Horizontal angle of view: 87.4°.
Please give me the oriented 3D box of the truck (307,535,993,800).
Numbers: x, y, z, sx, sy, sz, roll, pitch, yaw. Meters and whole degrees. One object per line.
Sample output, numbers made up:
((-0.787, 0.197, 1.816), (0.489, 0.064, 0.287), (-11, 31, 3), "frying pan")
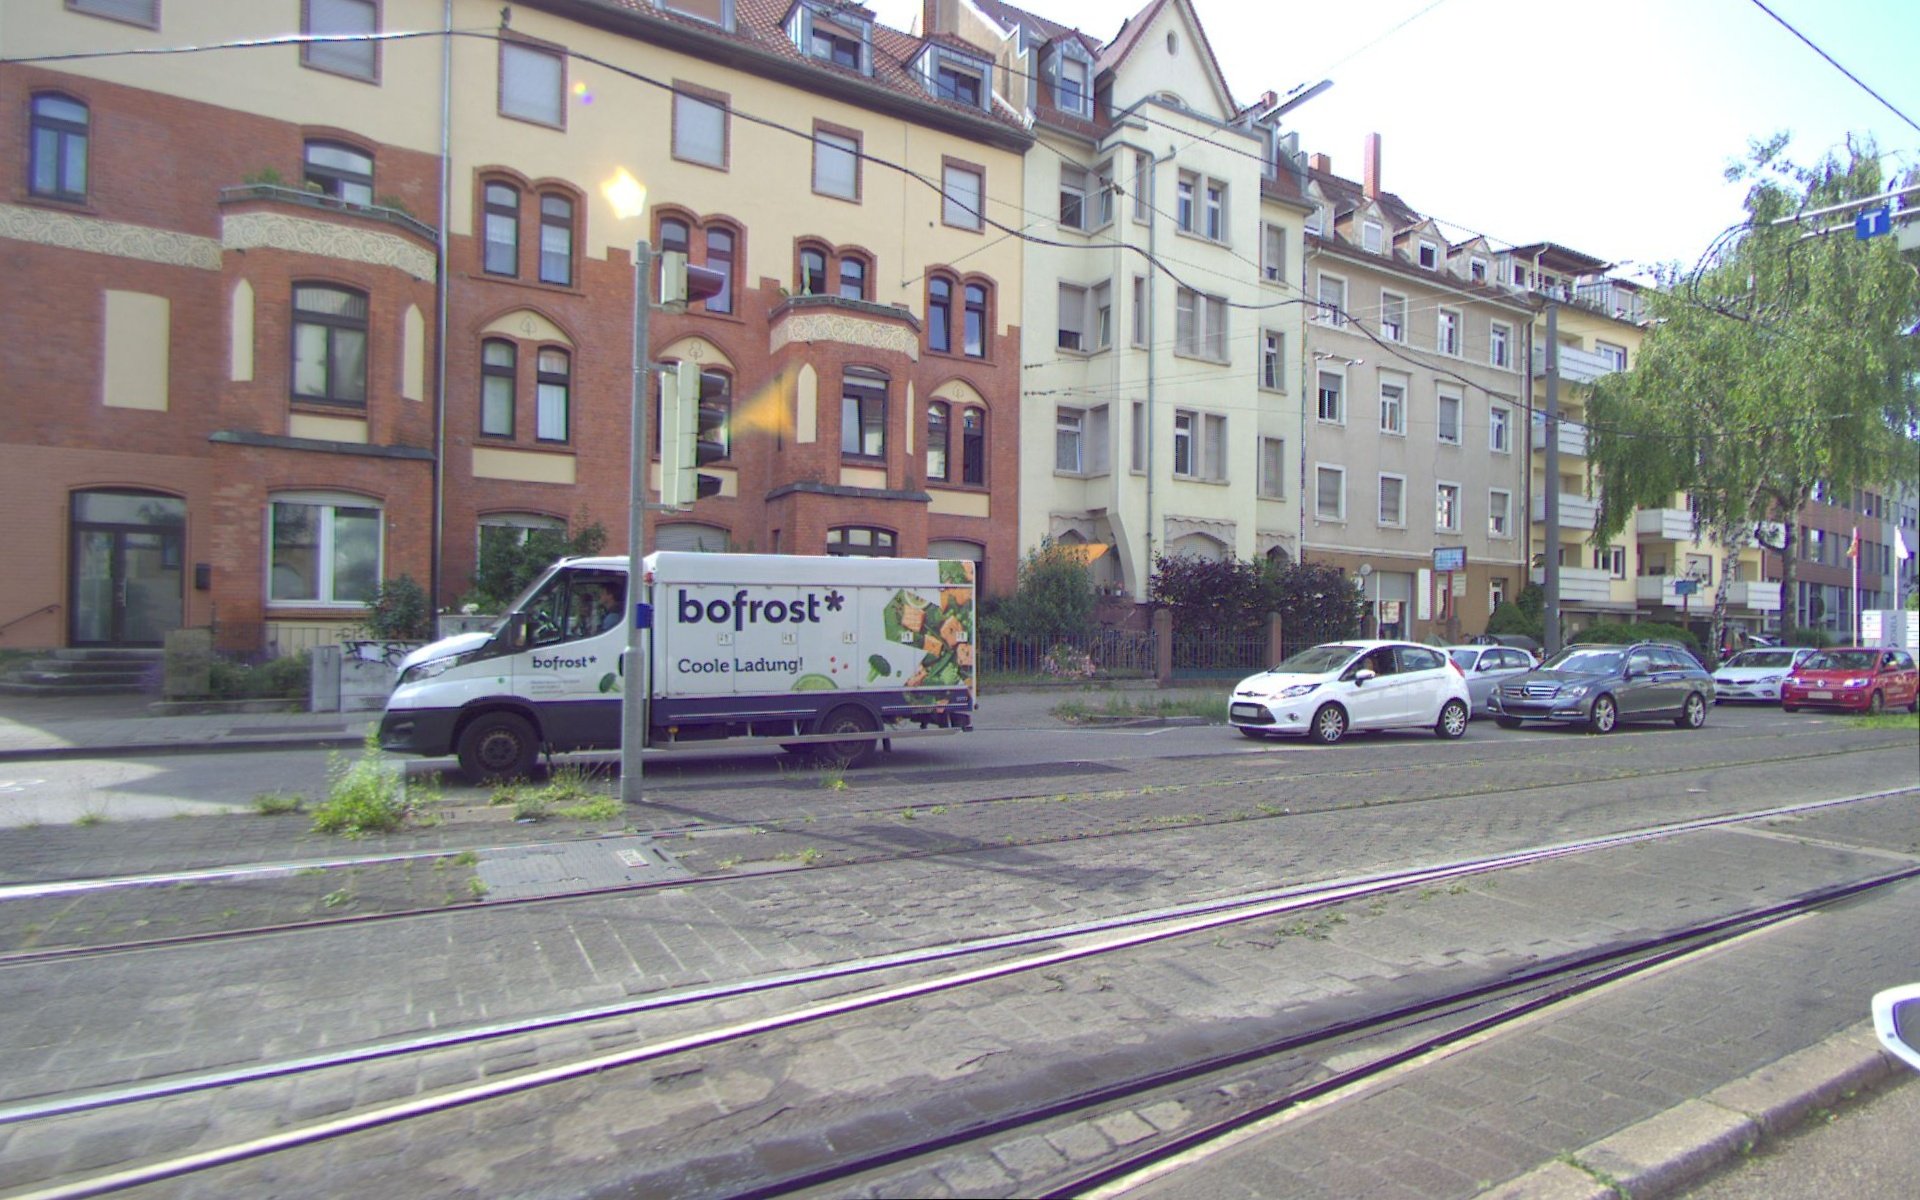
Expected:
((-3.021, 0.664, 10.924), (6.522, 2.243, 2.179), (1, -2, -25), "truck")

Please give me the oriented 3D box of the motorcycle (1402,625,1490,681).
((11.415, 1.220, 23.554), (2.272, 1.259, 0.894), (1, -1, -35), "motorcycle")

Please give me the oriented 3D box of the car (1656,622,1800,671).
((29.771, 1.766, 39.057), (1.949, 1.623, 3.970), (1, 0, -29), "car")

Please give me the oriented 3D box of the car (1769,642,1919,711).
((19.931, 1.661, 22.497), (3.648, 1.405, 1.572), (1, -2, -29), "car")

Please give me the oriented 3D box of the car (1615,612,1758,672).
((27.602, 1.556, 38.285), (1.911, 2.040, 3.974), (1, 1, -25), "car")

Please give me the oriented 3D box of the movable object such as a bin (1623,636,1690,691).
((19.445, 1.755, 28.053), (1.504, 1.449, 0.946), (1, 1, -30), "movable object such as a bin")

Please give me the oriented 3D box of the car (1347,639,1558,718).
((9.620, 1.472, 19.585), (3.945, 1.374, 1.748), (1, -2, -28), "car")

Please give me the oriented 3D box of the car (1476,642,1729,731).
((11.204, 1.451, 17.476), (4.455, 1.374, 1.749), (2, -3, -28), "car")

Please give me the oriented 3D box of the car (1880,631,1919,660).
((55.240, 2.615, 57.094), (1.978, 1.617, 3.966), (1, -1, -32), "car")

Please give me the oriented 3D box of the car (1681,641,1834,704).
((20.727, 1.829, 26.077), (4.174, 1.497, 1.638), (1, -2, -29), "car")

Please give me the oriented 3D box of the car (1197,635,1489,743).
((5.726, 1.280, 15.013), (4.078, 1.433, 1.750), (2, -3, -25), "car")

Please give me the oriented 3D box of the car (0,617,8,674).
((-26.662, 1.212, 26.264), (1.536, 1.565, 3.706), (1, -2, -27), "car")

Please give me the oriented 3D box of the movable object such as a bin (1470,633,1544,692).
((13.695, 1.552, 25.151), (1.504, 1.385, 0.946), (1, 0, -30), "movable object such as a bin")
